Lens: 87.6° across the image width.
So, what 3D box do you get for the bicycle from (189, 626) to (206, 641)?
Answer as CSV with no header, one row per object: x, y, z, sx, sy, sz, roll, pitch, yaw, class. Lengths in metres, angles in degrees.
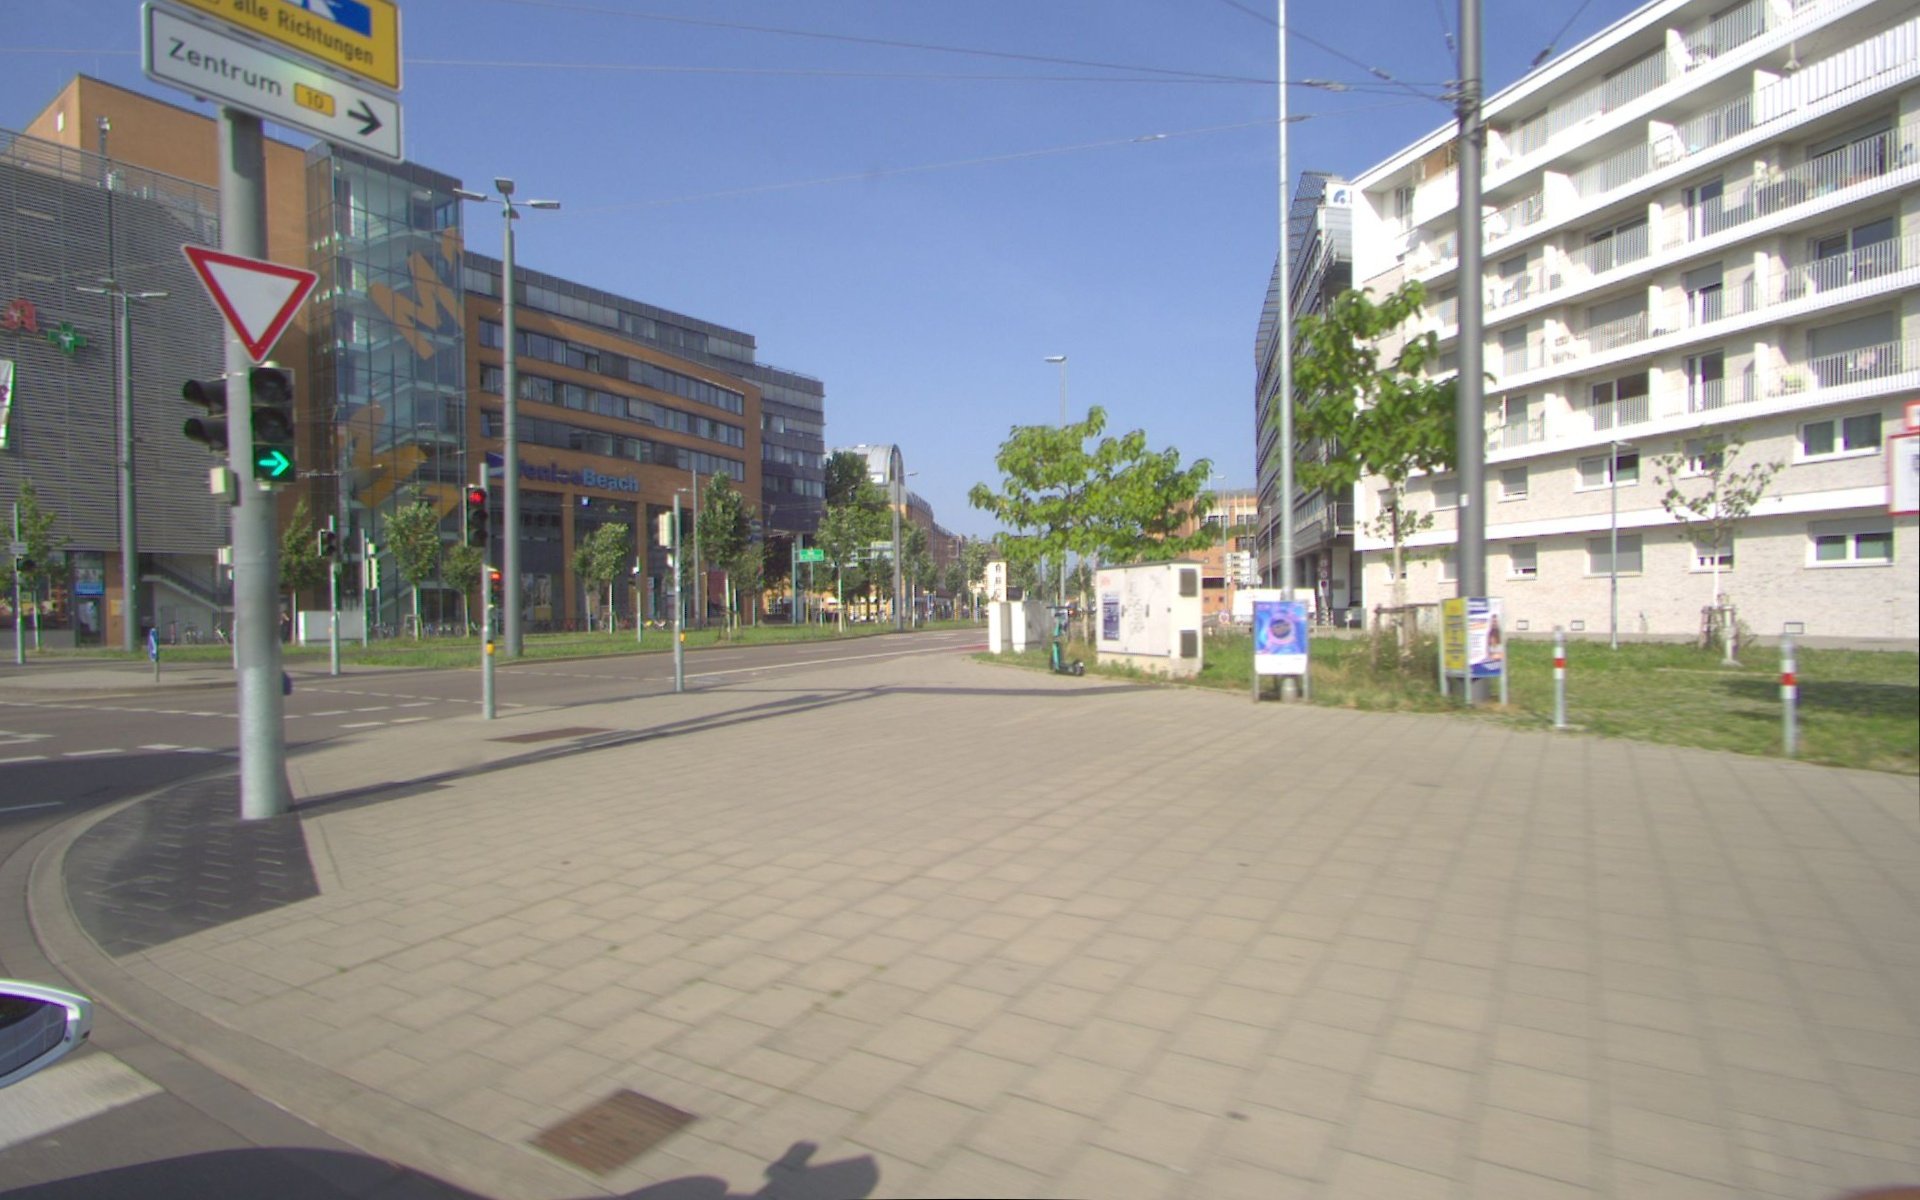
-39.122,1.701,51.385,0.993,0.762,0.449,0,0,36,bicycle

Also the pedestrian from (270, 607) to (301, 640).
-36.659,1.267,54.443,0.809,1.742,1.169,0,0,34,pedestrian

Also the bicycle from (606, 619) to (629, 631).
-27.554,2.024,80.469,2.024,0.934,0.571,-1,0,30,bicycle

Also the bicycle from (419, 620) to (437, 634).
-33.672,1.698,63.402,1.446,0.841,0.255,2,0,31,bicycle

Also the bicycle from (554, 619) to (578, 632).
-29.829,1.929,75.760,2.024,0.934,0.571,-1,0,30,bicycle

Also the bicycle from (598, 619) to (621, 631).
-27.895,1.983,79.648,2.024,0.934,0.571,-1,0,30,bicycle

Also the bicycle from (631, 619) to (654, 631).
-26.249,2.062,82.674,2.024,0.934,0.571,-1,0,30,bicycle

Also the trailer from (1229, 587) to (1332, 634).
15.639,0.488,48.656,2.373,2.179,5.893,-1,0,45,trailer

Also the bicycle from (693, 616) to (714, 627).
-20.993,1.774,81.935,1.658,0.919,0.705,-1,-1,35,bicycle

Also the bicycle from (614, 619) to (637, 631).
-27.175,2.023,81.282,2.024,0.934,0.571,-1,0,30,bicycle

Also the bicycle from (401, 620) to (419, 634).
-34.266,1.678,62.357,1.446,0.898,0.255,-1,-2,31,bicycle

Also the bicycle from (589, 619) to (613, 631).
-28.305,1.982,78.893,2.024,0.934,0.571,-1,0,30,bicycle

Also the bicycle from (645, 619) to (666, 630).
-25.601,2.069,84.182,2.024,0.934,0.379,-1,0,30,bicycle

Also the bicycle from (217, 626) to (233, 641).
-38.444,1.744,52.357,1.011,0.762,0.359,0,0,36,bicycle

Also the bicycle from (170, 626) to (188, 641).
-39.582,1.708,50.747,0.993,0.762,0.449,0,0,36,bicycle

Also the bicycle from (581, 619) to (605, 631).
-28.644,1.969,78.101,2.024,0.934,0.571,-1,0,30,bicycle

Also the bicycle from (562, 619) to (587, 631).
-29.469,1.928,76.555,2.024,0.934,0.571,-1,0,30,bicycle

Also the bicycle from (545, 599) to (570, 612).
-30.172,0.441,75.074,2.024,0.934,0.571,-1,0,30,bicycle

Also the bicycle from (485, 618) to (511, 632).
-32.601,1.748,70.652,2.024,0.934,0.571,-1,0,30,bicycle

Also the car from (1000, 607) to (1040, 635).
4.045,1.442,66.881,1.680,1.777,3.885,-1,-2,19,car

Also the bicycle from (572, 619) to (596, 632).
-29.058,1.959,77.289,2.024,0.934,0.571,-1,0,30,bicycle

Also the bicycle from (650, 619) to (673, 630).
-25.287,2.093,84.846,2.024,0.934,0.571,-1,0,30,bicycle

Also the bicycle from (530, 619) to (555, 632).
-30.798,1.861,73.836,2.024,0.934,0.571,-1,0,30,bicycle
